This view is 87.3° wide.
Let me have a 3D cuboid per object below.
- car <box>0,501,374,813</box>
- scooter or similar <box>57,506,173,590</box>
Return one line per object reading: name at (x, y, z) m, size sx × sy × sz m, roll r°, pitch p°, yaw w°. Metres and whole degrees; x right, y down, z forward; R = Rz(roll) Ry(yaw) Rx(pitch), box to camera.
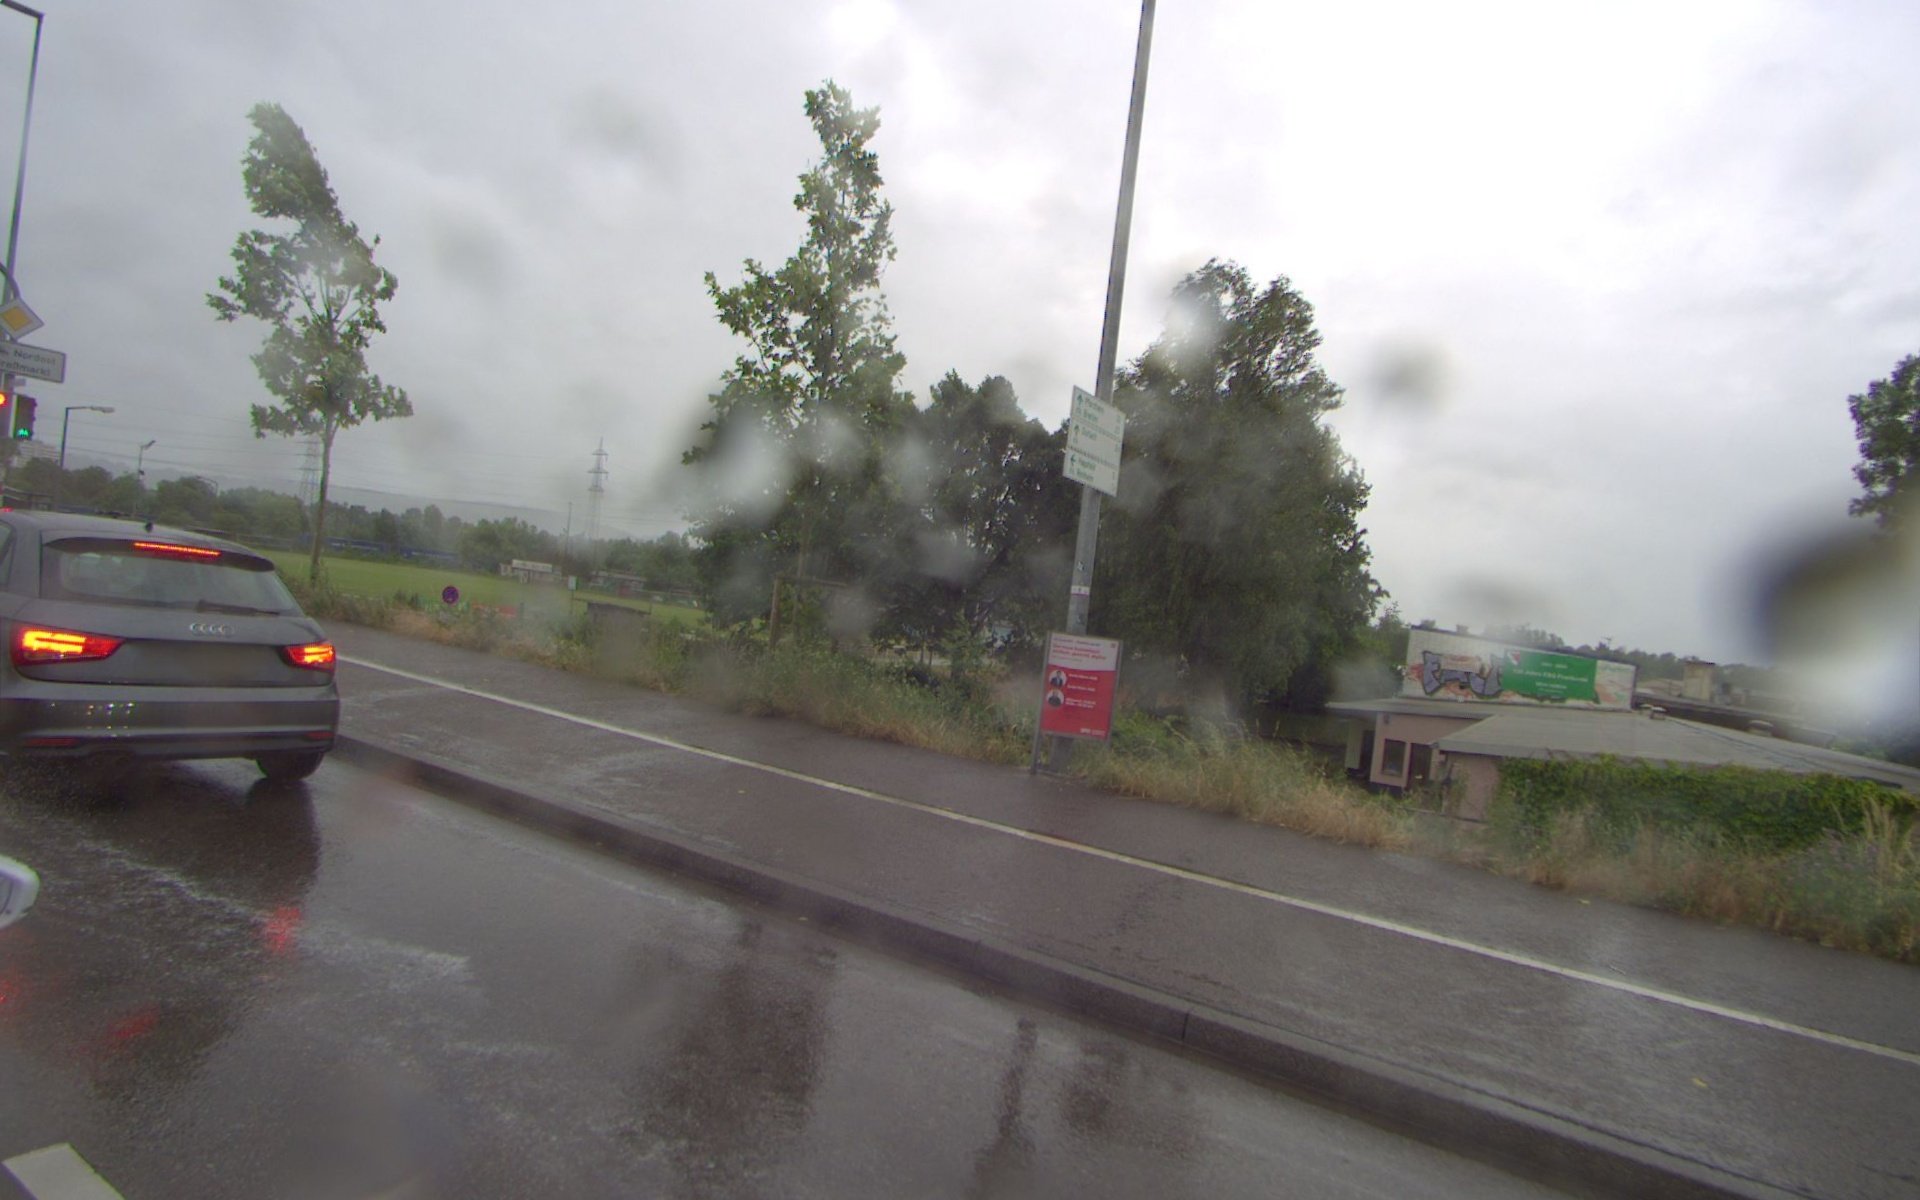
car at (-5.421, 0.150, 6.065) m, size 3.569 × 1.383 × 1.600 m, roll 7°, pitch 0°, yaw 30°
scooter or similar at (-15.250, -0.950, 18.113) m, size 2.971 × 1.226 × 0.691 m, roll 7°, pitch 0°, yaw 33°
